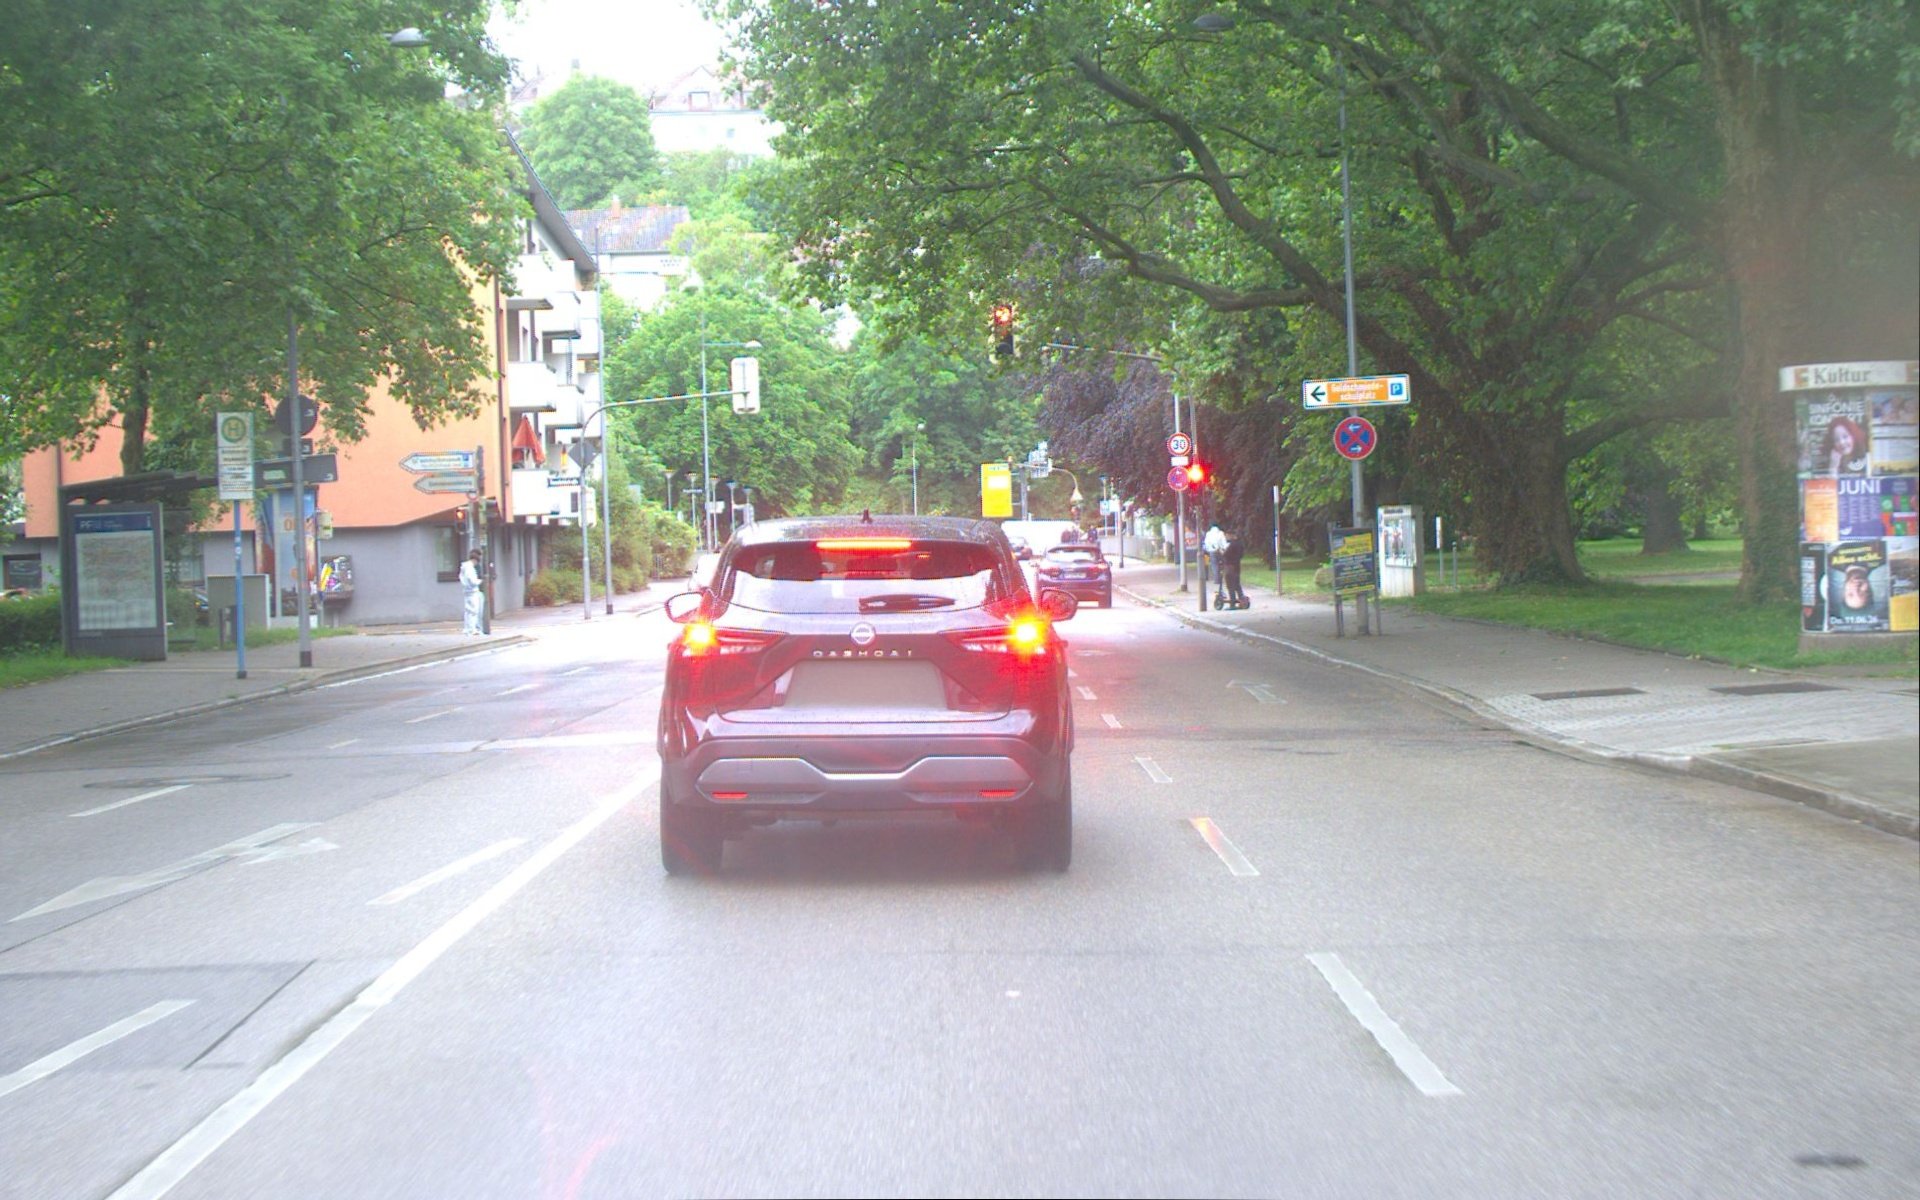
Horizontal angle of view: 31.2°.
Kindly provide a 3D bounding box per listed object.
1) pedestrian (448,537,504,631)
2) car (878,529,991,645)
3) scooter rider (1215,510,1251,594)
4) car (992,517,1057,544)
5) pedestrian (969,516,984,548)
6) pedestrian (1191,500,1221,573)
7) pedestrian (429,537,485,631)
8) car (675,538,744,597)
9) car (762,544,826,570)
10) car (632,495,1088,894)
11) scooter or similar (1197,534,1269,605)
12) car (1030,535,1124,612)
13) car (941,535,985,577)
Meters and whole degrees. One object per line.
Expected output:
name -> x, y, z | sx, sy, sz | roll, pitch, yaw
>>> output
pedestrian -> -9.895, -0.329, 70.293 | 1.035, 1.869, 0.658 | -2, 1, -12
car -> -0.402, -0.236, 55.428 | 1.698, 1.739, 3.641 | -2, 1, 0
scooter rider -> 5.789, -1.005, 72.875 | 0.643, 1.760, 0.735 | -1, 0, 12
car -> 4.121, -4.424, 220.186 | 4.013, 1.662, 1.702 | 1, 0, -6
pedestrian -> 0.877, -3.653, 184.393 | 0.509, 1.667, 0.658 | -2, 1, 28
pedestrian -> 6.900, -1.775, 96.427 | 0.725, 2.007, 0.851 | -2, 1, 0
pedestrian -> -10.175, -0.324, 69.480 | 1.035, 1.869, 0.658 | -2, 1, -12
car -> -6.872, -0.911, 94.711 | 1.795, 1.528, 3.868 | -3, 1, -4
car -> -10.587, -2.743, 219.325 | 3.987, 1.662, 1.701 | 1, 0, 0
car -> -0.419, 0.361, 16.460 | 1.913, 1.674, 4.000 | 0, 1, 0
scooter or similar -> 5.783, -0.643, 72.859 | 1.394, 1.441, 0.816 | -2, 0, 12
car -> 2.768, -0.621, 80.492 | 1.994, 1.729, 3.999 | 1, 1, 5
car -> 0.113, -1.730, 133.276 | 1.634, 1.527, 3.968 | -2, 1, 0
